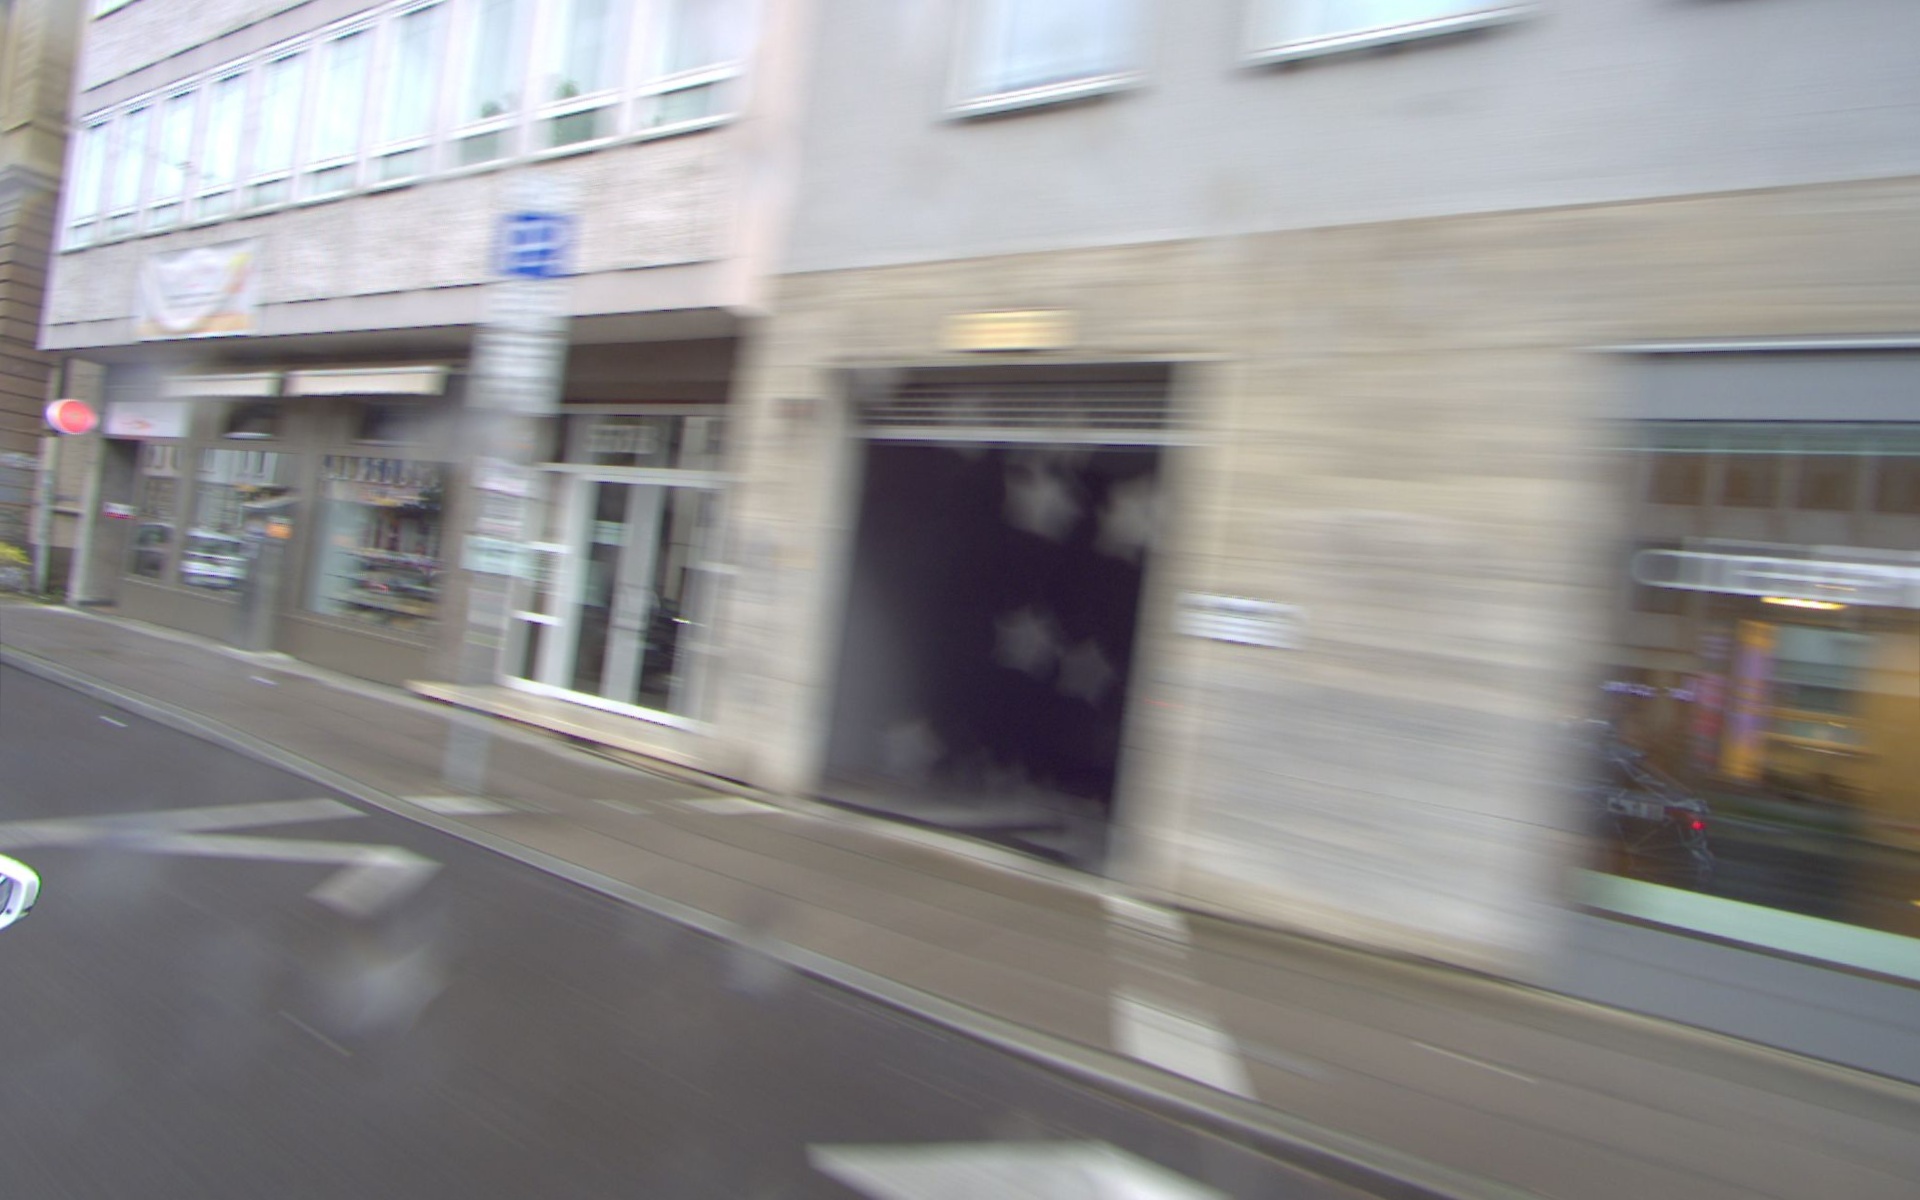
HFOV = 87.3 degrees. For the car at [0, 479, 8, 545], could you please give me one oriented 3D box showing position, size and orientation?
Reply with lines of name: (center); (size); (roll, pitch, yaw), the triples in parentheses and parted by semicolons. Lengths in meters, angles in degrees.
car: (-10.933, -0.525, 9.247); (4.497, 1.612, 1.997); (5, -2, 32)
